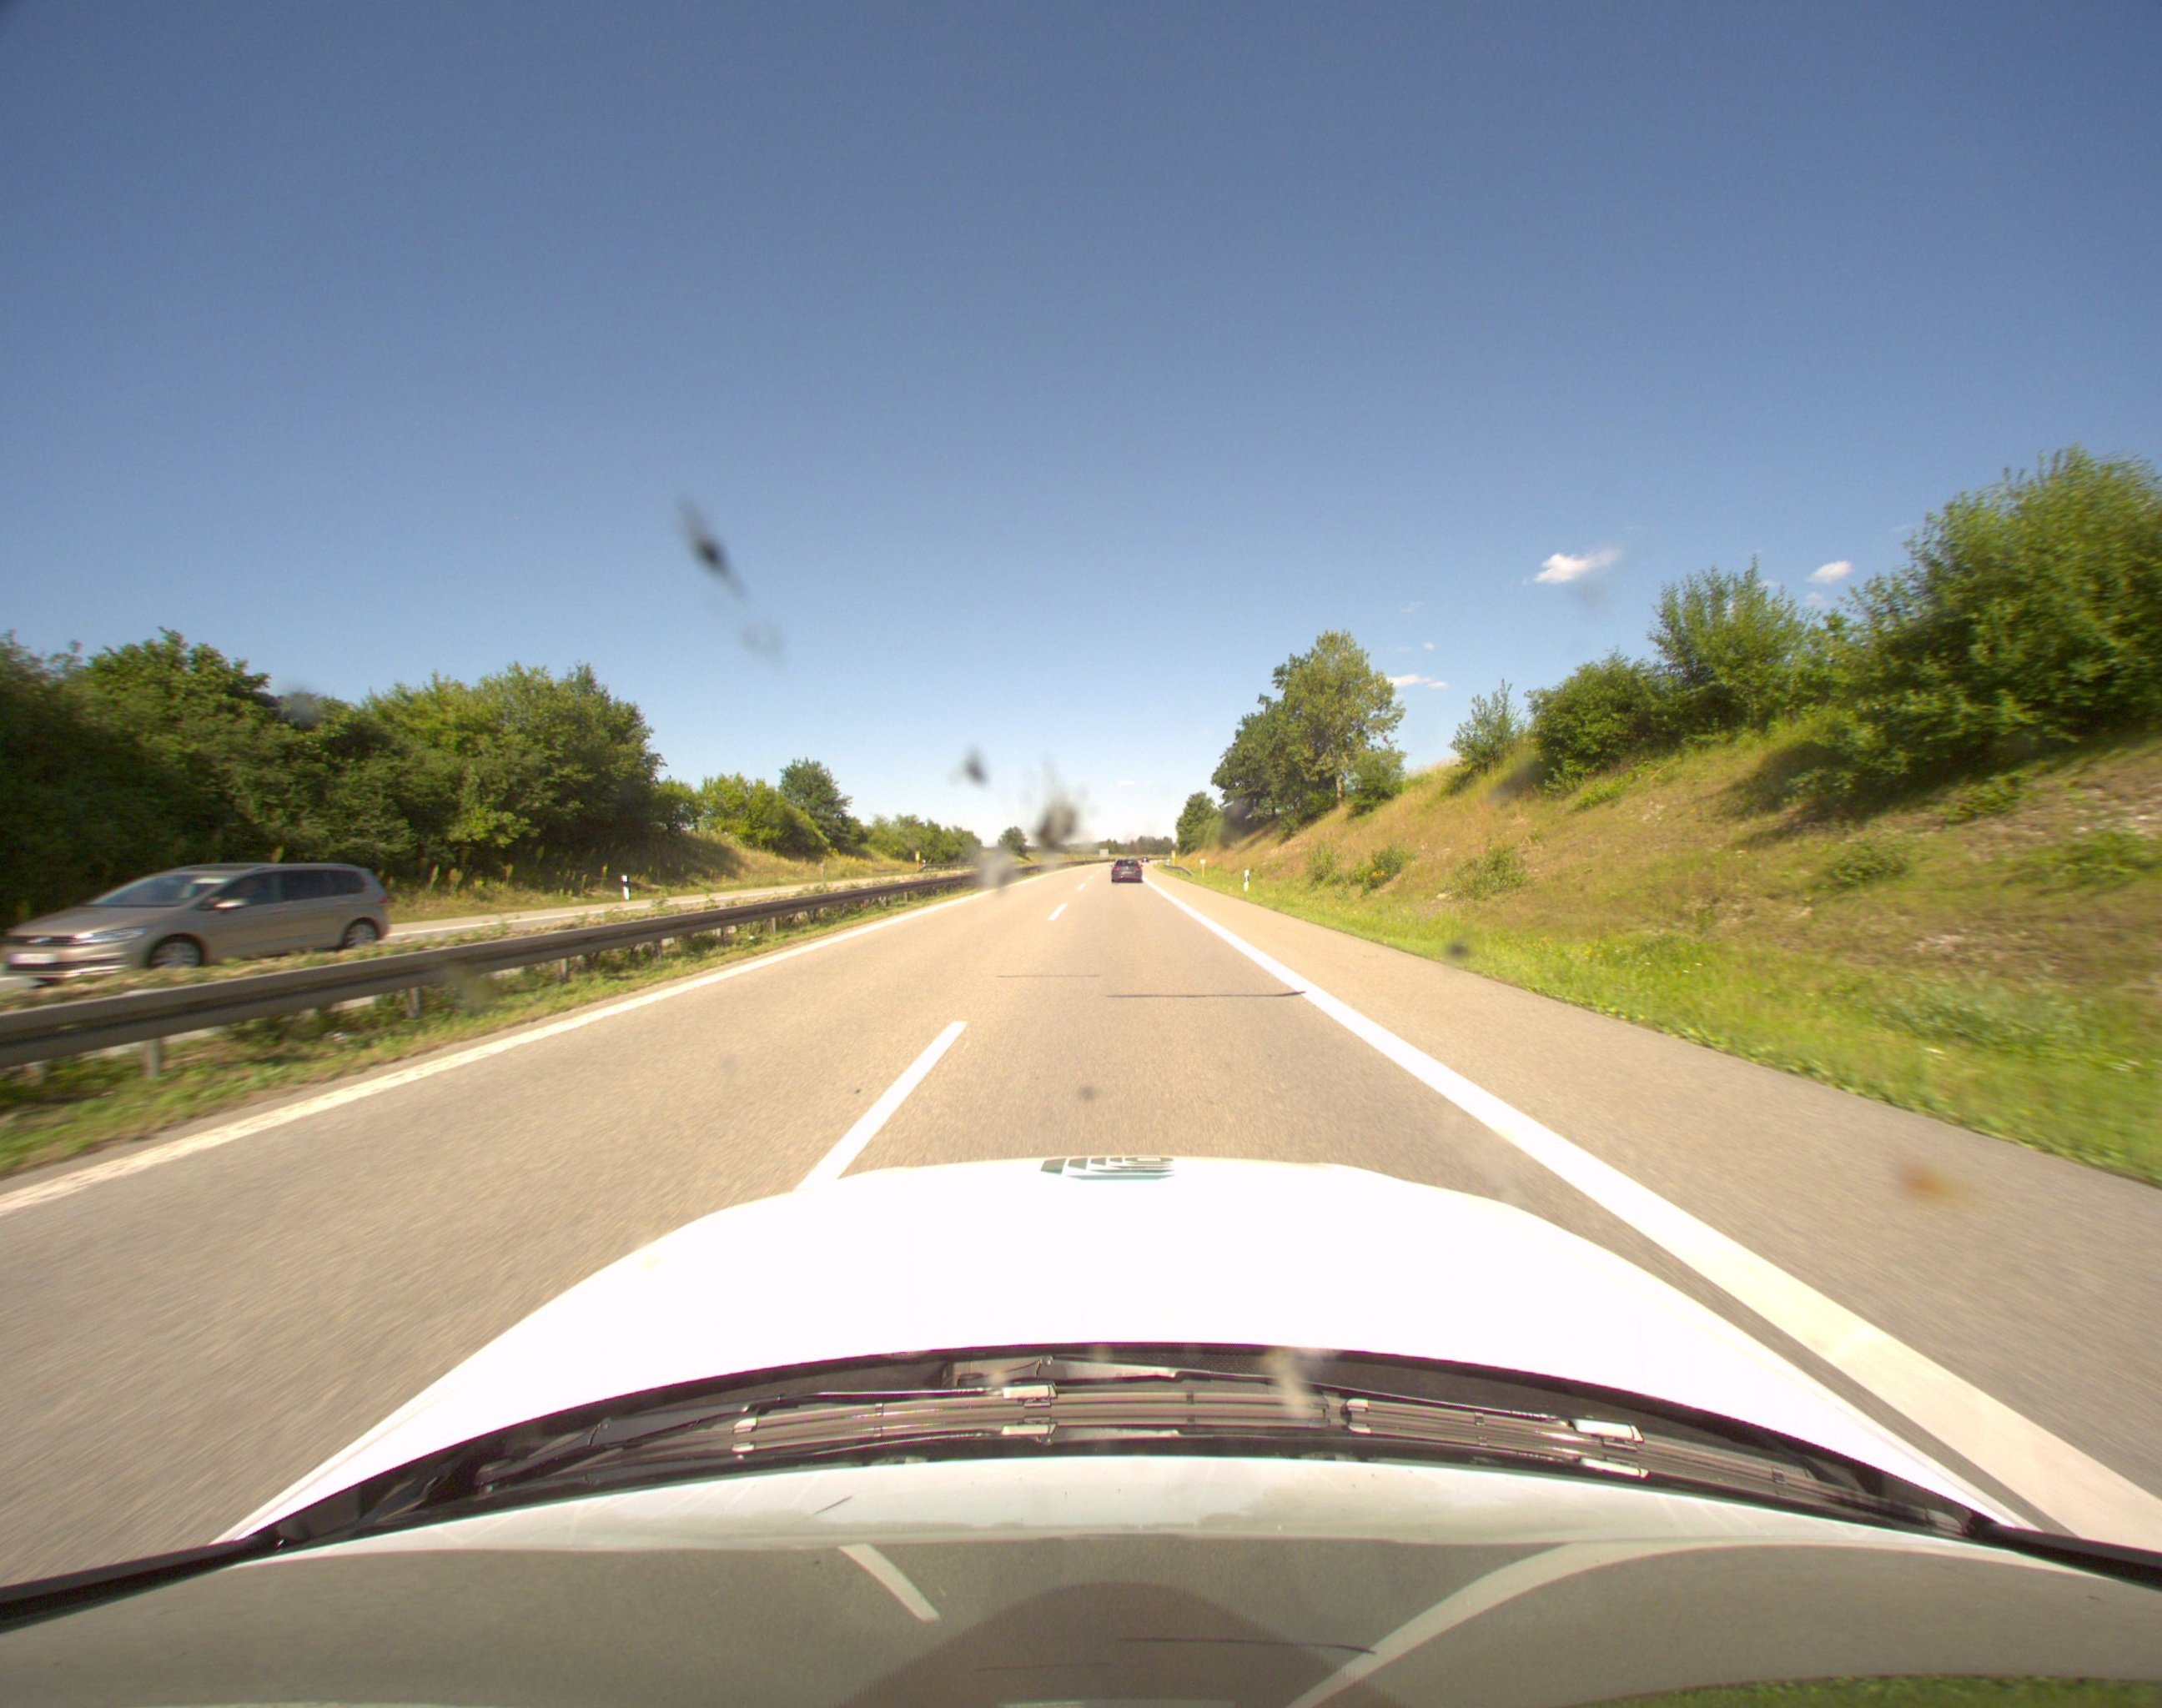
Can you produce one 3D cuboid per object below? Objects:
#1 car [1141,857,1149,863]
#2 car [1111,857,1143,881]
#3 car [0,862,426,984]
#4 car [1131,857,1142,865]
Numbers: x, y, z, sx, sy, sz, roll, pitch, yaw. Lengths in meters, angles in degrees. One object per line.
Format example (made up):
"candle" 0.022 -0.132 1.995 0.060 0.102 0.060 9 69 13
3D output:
"car" 15.432 1.424 196.556 1.704 1.387 3.357 2 -1 3
"car" 2.639 0.844 47.814 1.784 1.344 4.002 0 0 2
"car" -13.403 0.931 13.089 1.761 1.584 4.794 0 0 2
"car" 10.274 1.267 152.054 1.998 1.344 4.003 2 -1 3
